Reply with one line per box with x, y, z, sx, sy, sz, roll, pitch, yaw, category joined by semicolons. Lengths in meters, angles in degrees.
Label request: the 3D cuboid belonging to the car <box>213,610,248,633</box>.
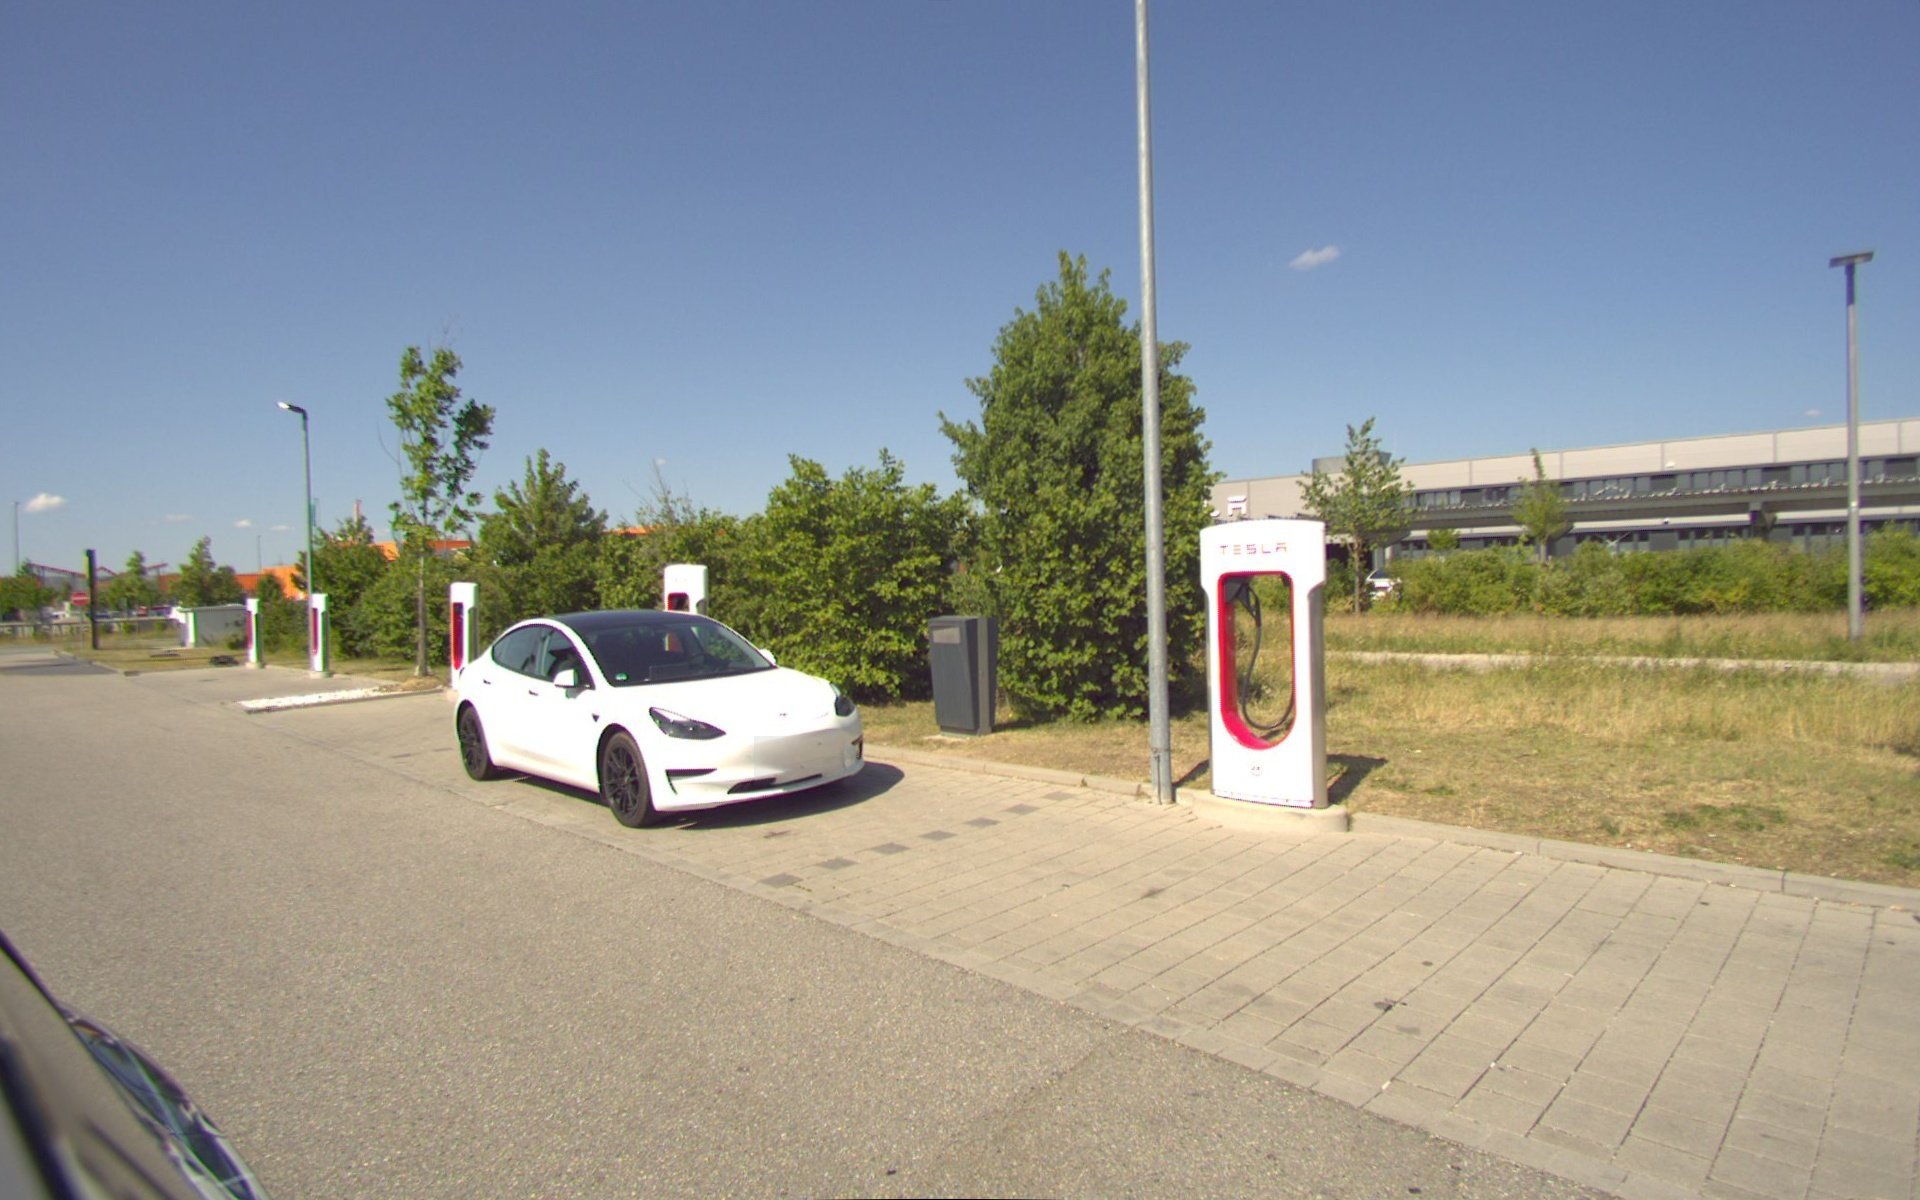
-66.370;1.980;92.060;4.002;2.029;1.971;-2;0;45;car

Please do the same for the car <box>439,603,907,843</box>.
-2.591;0.792;8.352;1.795;1.388;4.452;-2;0;-44;car

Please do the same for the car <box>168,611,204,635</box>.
-68.411;2.039;89.400;4.002;2.029;1.971;-2;0;45;car
